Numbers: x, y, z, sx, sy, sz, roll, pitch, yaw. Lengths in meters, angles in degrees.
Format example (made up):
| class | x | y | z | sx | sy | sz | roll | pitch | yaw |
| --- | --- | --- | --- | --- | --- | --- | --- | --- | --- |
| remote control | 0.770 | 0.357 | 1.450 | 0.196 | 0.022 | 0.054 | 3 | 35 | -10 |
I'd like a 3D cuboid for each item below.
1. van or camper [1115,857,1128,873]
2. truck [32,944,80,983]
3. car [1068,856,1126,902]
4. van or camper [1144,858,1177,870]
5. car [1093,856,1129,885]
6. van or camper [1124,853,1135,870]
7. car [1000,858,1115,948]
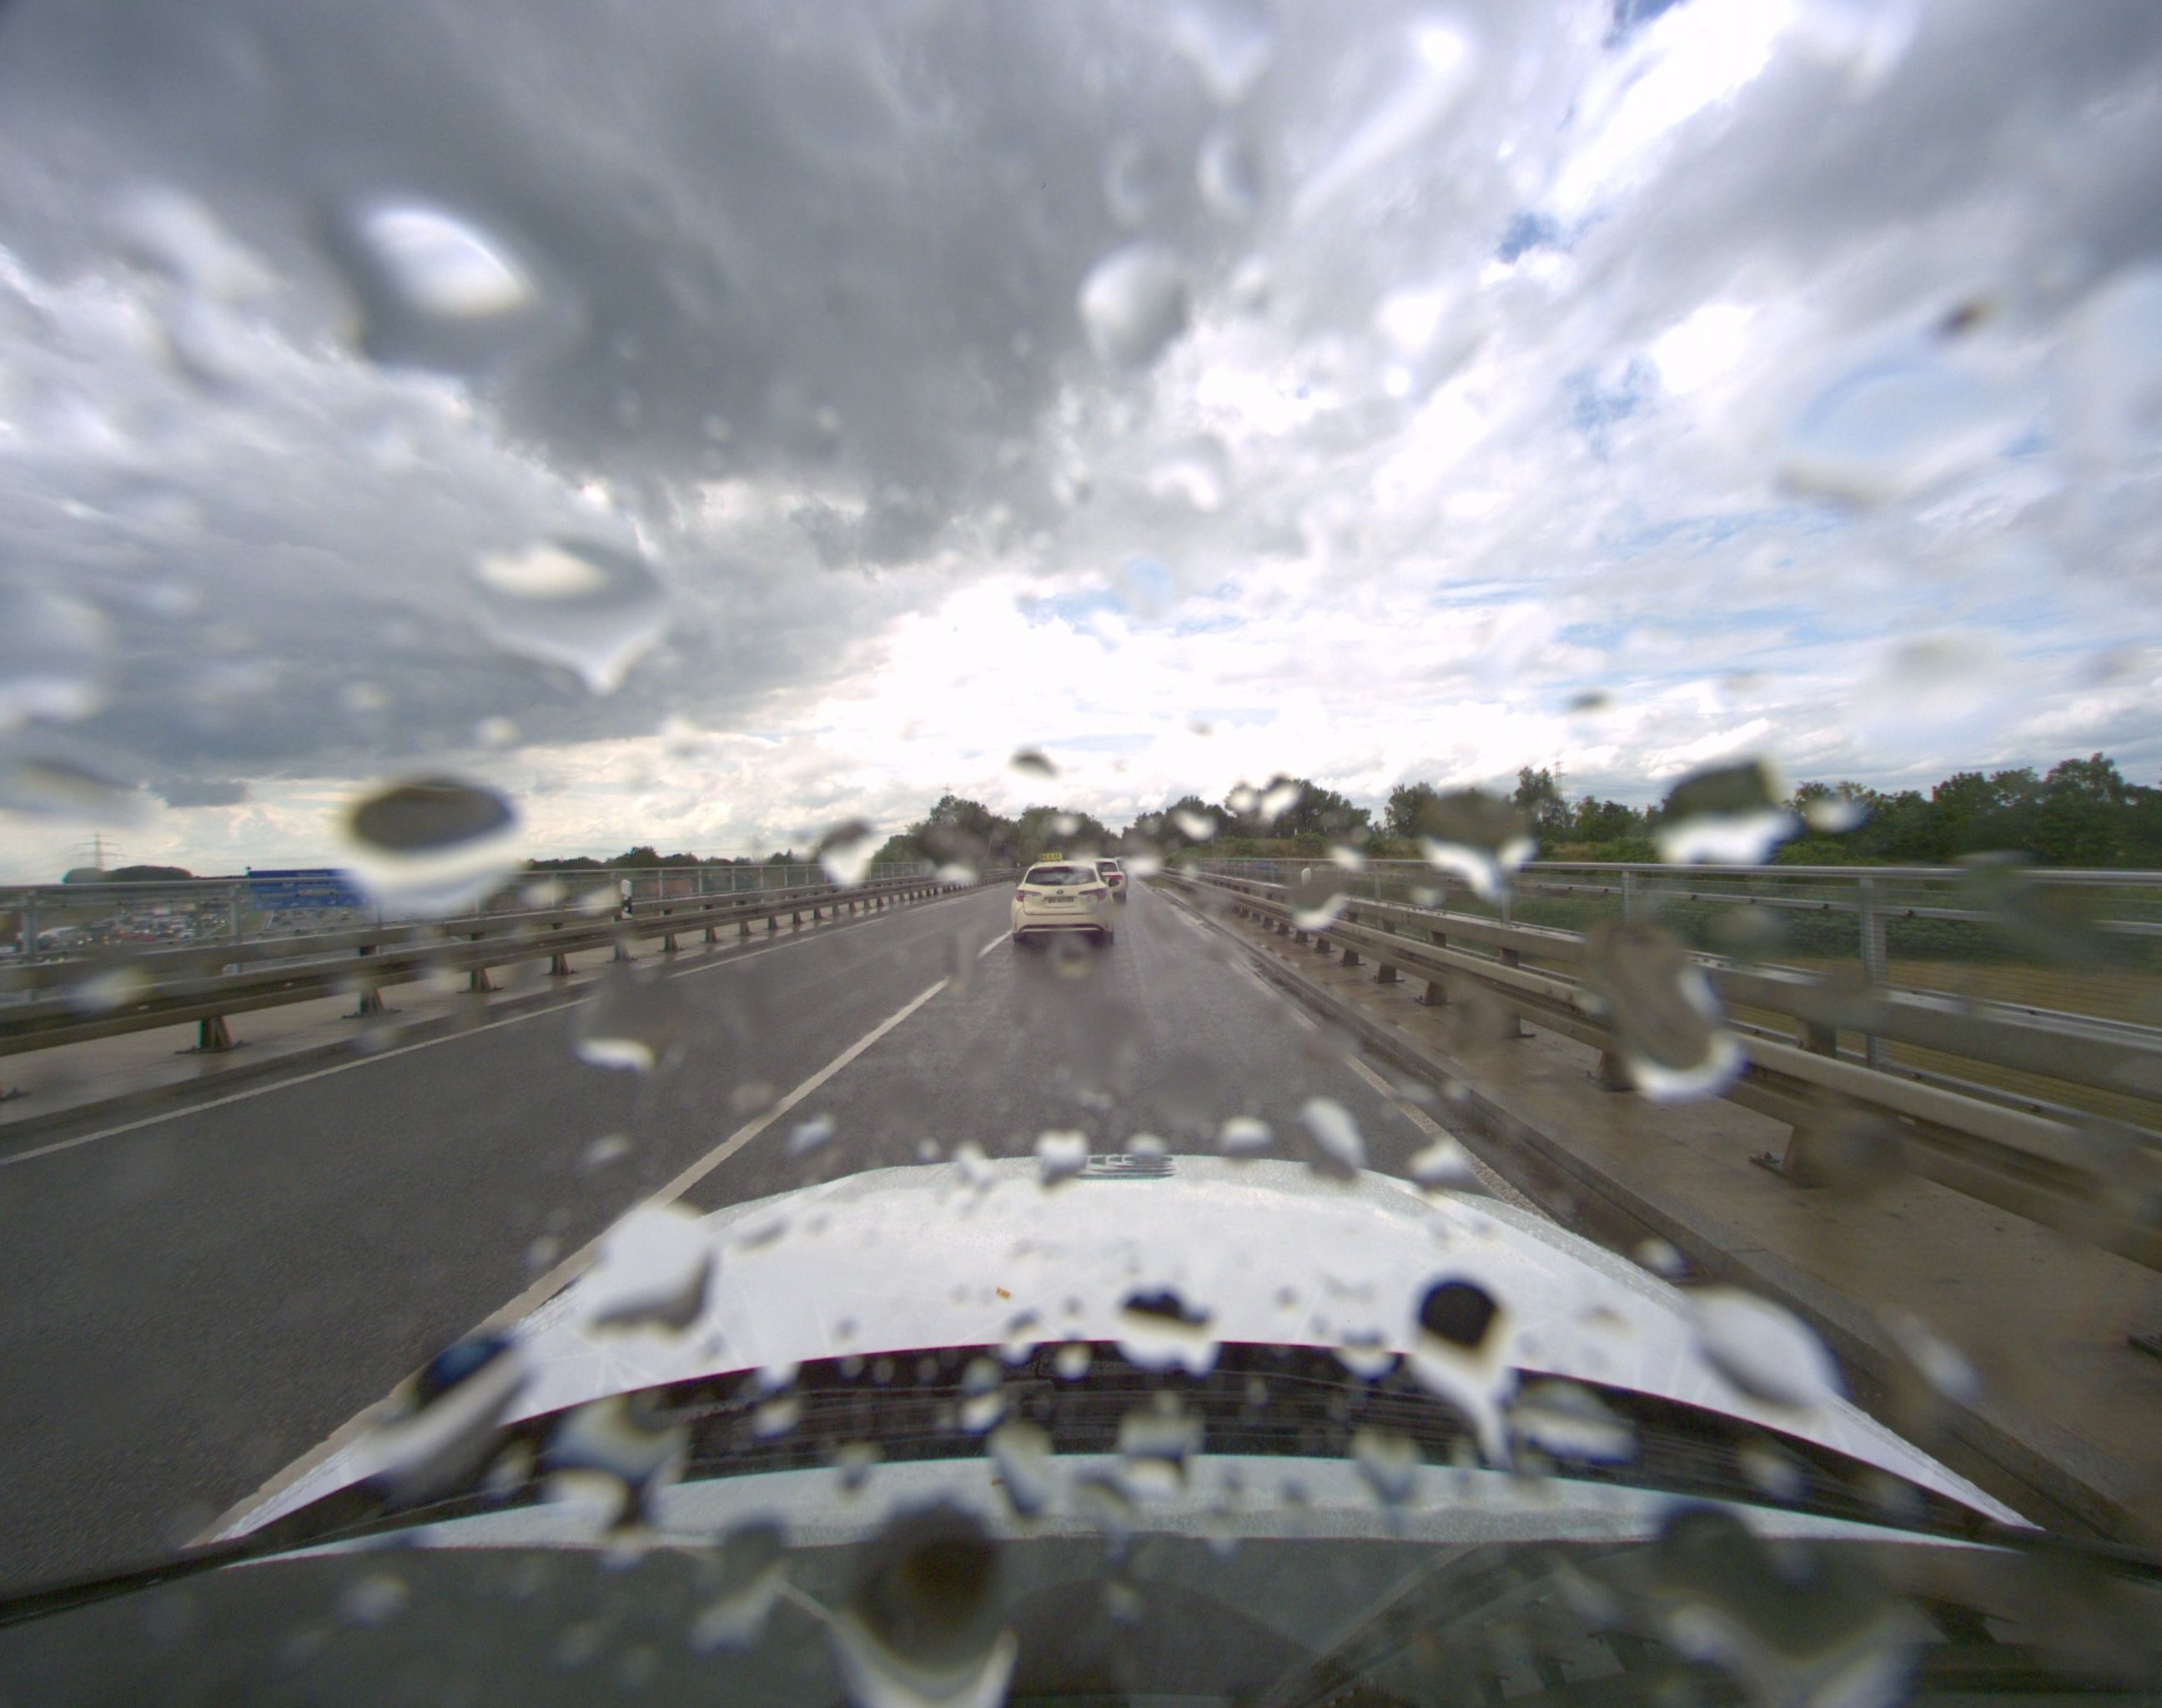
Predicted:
| class | x | y | z | sx | sy | sz | roll | pitch | yaw |
| --- | --- | --- | --- | --- | --- | --- | --- | --- | --- |
| van or camper | 7.557 | 2.005 | 151.847 | 2.322 | 2.864 | 6.312 | 0 | 0 | 4 |
| truck | -144.575 | 15.386 | 114.979 | 2.450 | 4.194 | 11.035 | 0 | 0 | -42 |
| car | 0.593 | 0.803 | 28.130 | 1.847 | 1.443 | 4.173 | 0 | 0 | 2 |
| van or camper | 14.473 | 1.787 | 148.752 | 5.683 | 2.241 | 2.011 | 0 | 0 | -13 |
| car | 1.632 | 0.874 | 43.900 | 1.847 | 1.443 | 4.173 | 0 | 0 | 2 |
| van or camper | 10.781 | 1.644 | 180.902 | 2.322 | 3.562 | 6.312 | 0 | 0 | 4 |
| car | -0.303 | 0.809 | 15.295 | 1.847 | 1.394 | 4.173 | 0 | 0 | 2 |
